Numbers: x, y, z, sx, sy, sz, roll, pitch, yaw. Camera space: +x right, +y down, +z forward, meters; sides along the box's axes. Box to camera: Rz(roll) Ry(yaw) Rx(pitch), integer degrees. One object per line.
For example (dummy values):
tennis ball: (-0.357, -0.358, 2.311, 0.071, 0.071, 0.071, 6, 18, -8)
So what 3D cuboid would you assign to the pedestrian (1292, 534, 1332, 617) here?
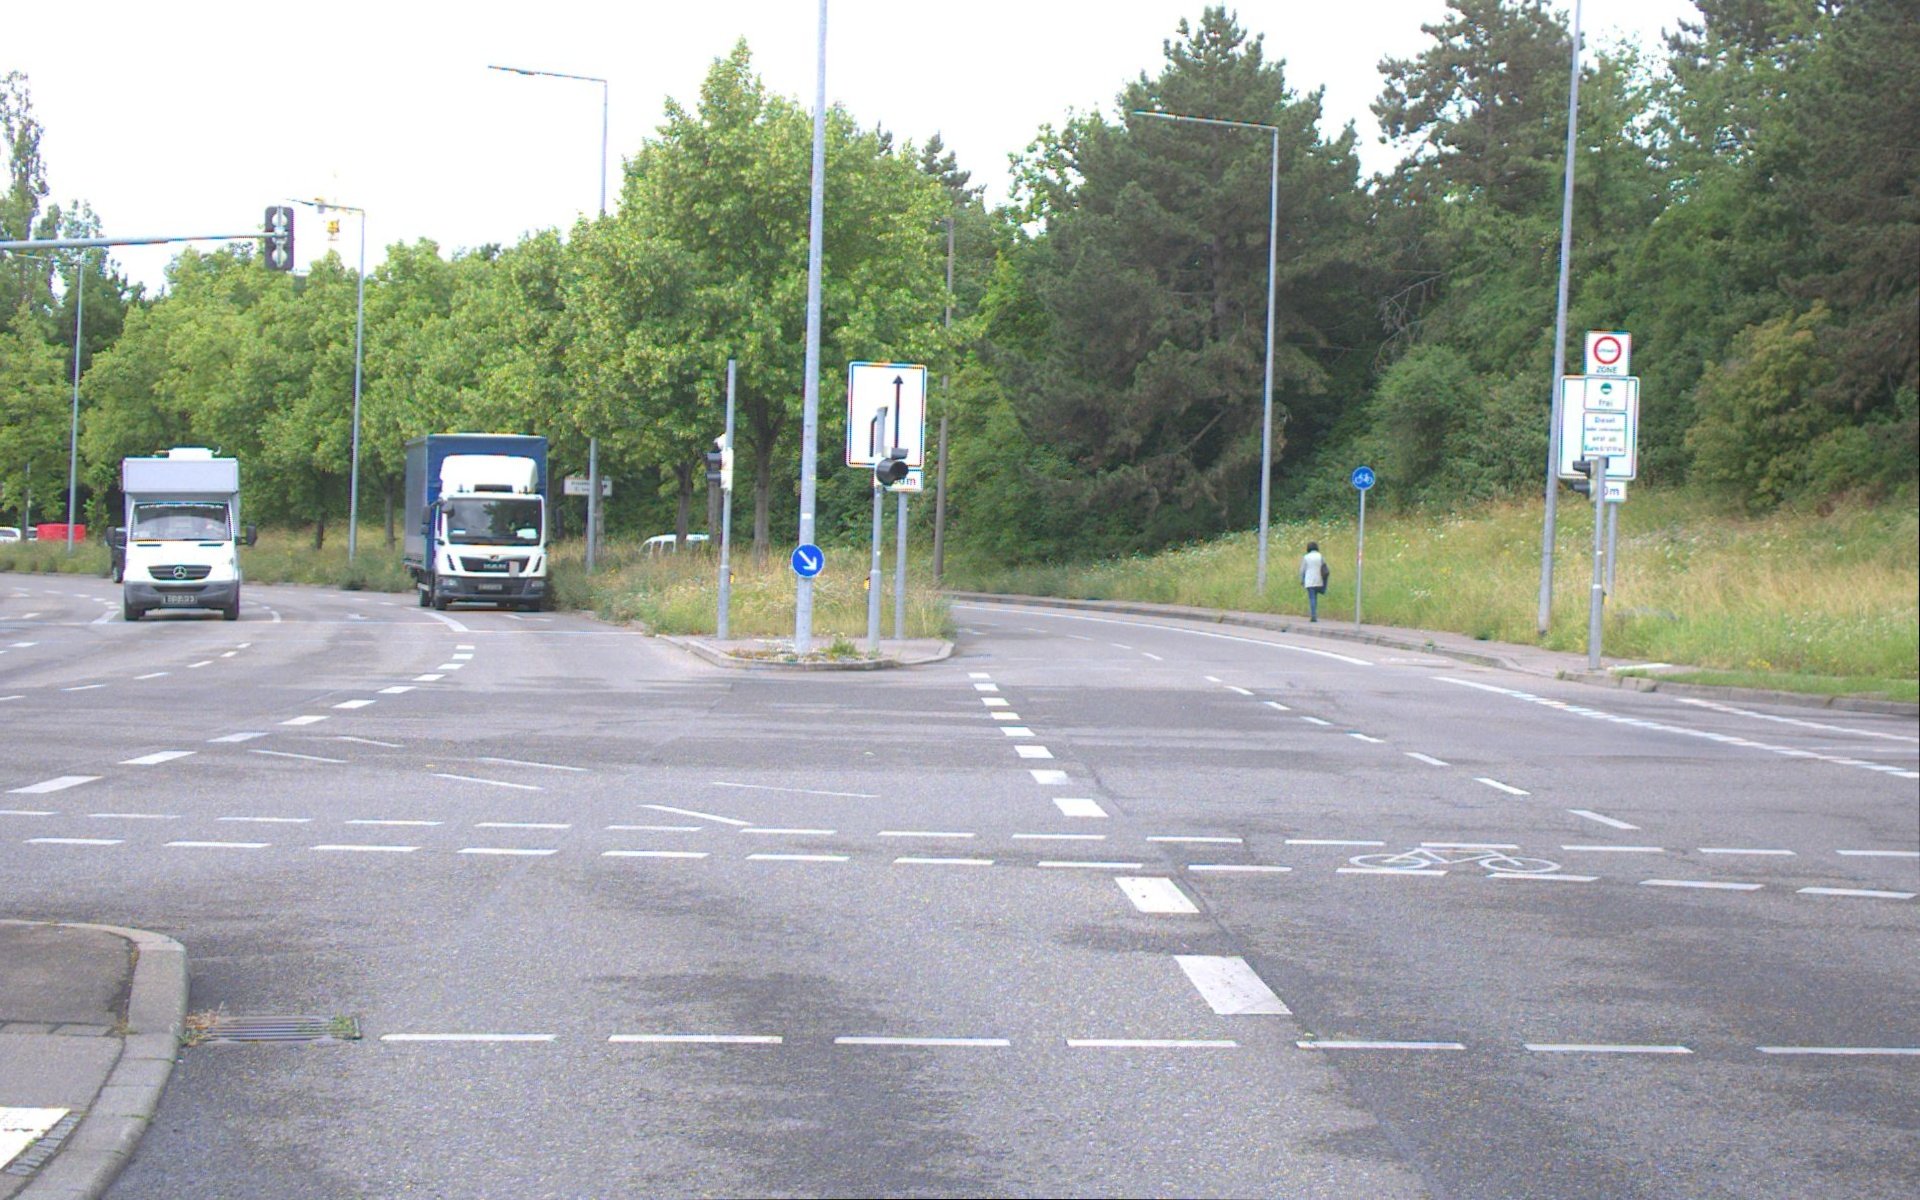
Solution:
pedestrian: (7.298, -0.514, 71.332, 0.739, 1.711, 0.625, 1, 1, -1)

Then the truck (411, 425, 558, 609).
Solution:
truck: (-10.520, -1.800, 75.411, 2.778, 3.791, 8.392, 1, 1, -10)

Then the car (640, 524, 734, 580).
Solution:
car: (-8.761, -1.540, 110.210, 1.993, 1.722, 3.728, 0, 1, -21)

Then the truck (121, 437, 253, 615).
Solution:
truck: (-14.052, -1.342, 62.668, 2.104, 3.000, 6.275, -3, 1, -12)
